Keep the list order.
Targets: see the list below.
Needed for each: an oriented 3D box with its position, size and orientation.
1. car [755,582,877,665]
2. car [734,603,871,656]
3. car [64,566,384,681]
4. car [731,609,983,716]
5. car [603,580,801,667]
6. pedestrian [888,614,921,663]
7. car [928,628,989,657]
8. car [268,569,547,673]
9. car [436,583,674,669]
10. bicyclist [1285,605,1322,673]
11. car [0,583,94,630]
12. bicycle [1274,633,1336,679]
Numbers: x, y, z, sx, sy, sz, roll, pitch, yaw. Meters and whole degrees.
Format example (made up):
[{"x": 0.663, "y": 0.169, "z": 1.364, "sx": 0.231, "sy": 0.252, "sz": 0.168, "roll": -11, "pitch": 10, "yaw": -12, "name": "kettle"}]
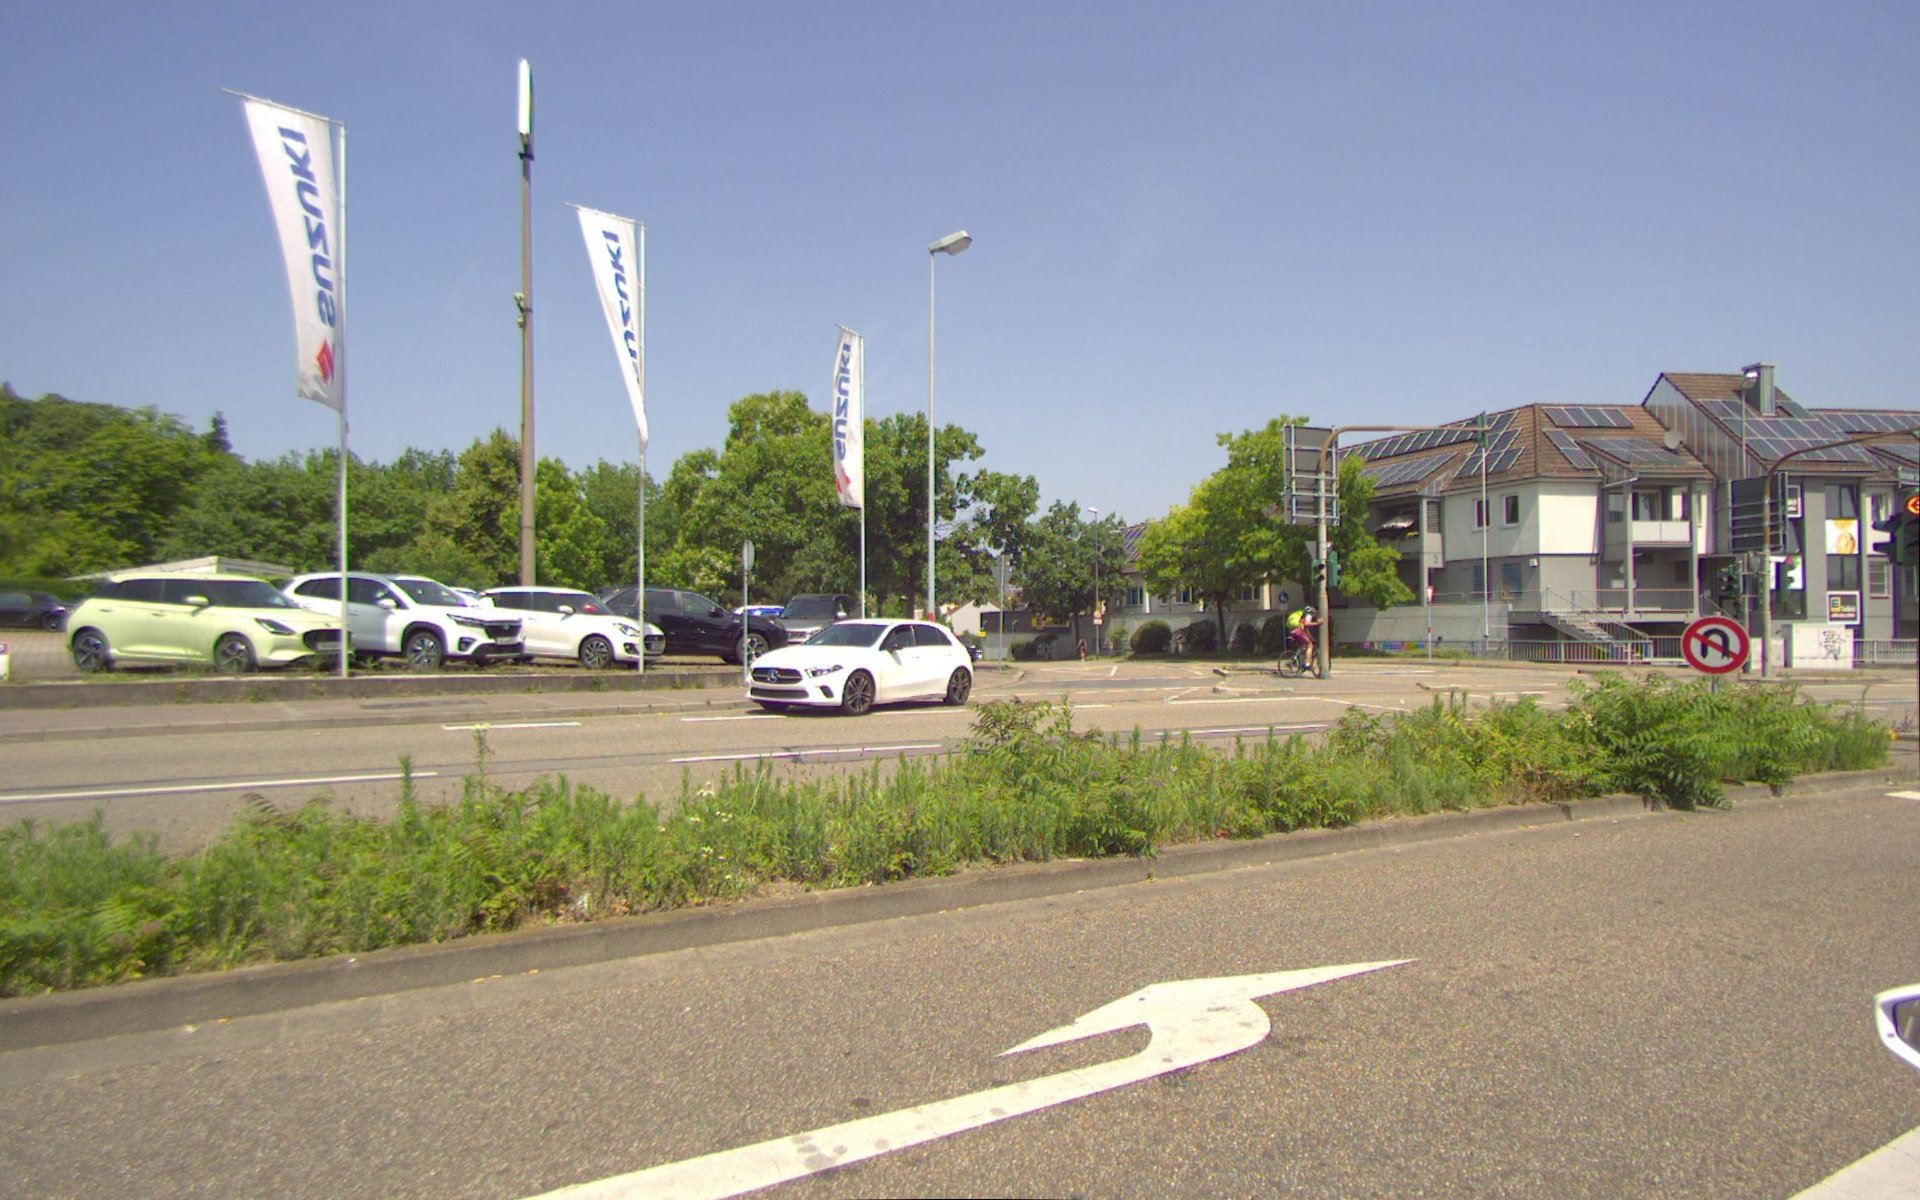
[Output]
[{"x": -3.649, "y": 0.660, "z": 26.273, "sx": 1.792, "sy": 1.926, "sz": 4.313, "roll": 2, "pitch": -2, "yaw": 11, "name": "car"}, {"x": -5.007, "y": 0.944, "z": 31.888, "sx": 3.947, "sy": 1.557, "sz": 1.784, "roll": 2, "pitch": 0, "yaw": -26, "name": "car"}, {"x": -11.079, "y": 0.335, "z": 15.245, "sx": 3.742, "sy": 1.530, "sz": 1.759, "roll": 2, "pitch": 0, "yaw": 9, "name": "car"}, {"x": -1.447, "y": 0.974, "z": 15.861, "sx": 1.841, "sy": 1.443, "sz": 4.261, "roll": -2, "pitch": -4, "yaw": 30, "name": "car"}, {"x": -5.754, "y": 0.548, "z": 22.452, "sx": 3.963, "sy": 1.746, "sz": 1.833, "roll": 3, "pitch": -2, "yaw": -27, "name": "car"}, {"x": -2.163, "y": 1.503, "z": 39.284, "sx": 0.971, "sy": 1.896, "sz": 0.808, "roll": 2, "pitch": 0, "yaw": -34, "name": "pedestrian"}, {"x": -0.118, "y": 2.334, "z": 54.941, "sx": 1.973, "sy": 1.505, "sz": 4.423, "roll": 0, "pitch": -3, "yaw": -19, "name": "car"}, {"x": -9.398, "y": 0.330, "z": 17.208, "sx": 3.882, "sy": 1.561, "sz": 1.920, "roll": 2, "pitch": 0, "yaw": 14, "name": "car"}, {"x": -7.693, "y": 0.494, "z": 19.209, "sx": 3.882, "sy": 1.451, "sz": 1.717, "roll": 2, "pitch": -2, "yaw": 12, "name": "car"}, {"x": 8.569, "y": 0.961, "z": 25.058, "sx": 0.811, "sy": 1.664, "sz": 0.419, "roll": 0, "pitch": 1, "yaw": -31, "name": "bicyclist"}, {"x": -28.627, "y": 0.186, "z": 30.571, "sx": 3.320, "sy": 1.392, "sz": 1.638, "roll": 2, "pitch": 0, "yaw": -38, "name": "car"}, {"x": 8.644, "y": 1.379, "z": 25.122, "sx": 1.768, "sy": 1.068, "sz": 0.418, "roll": 0, "pitch": 1, "yaw": -31, "name": "bicycle"}]
